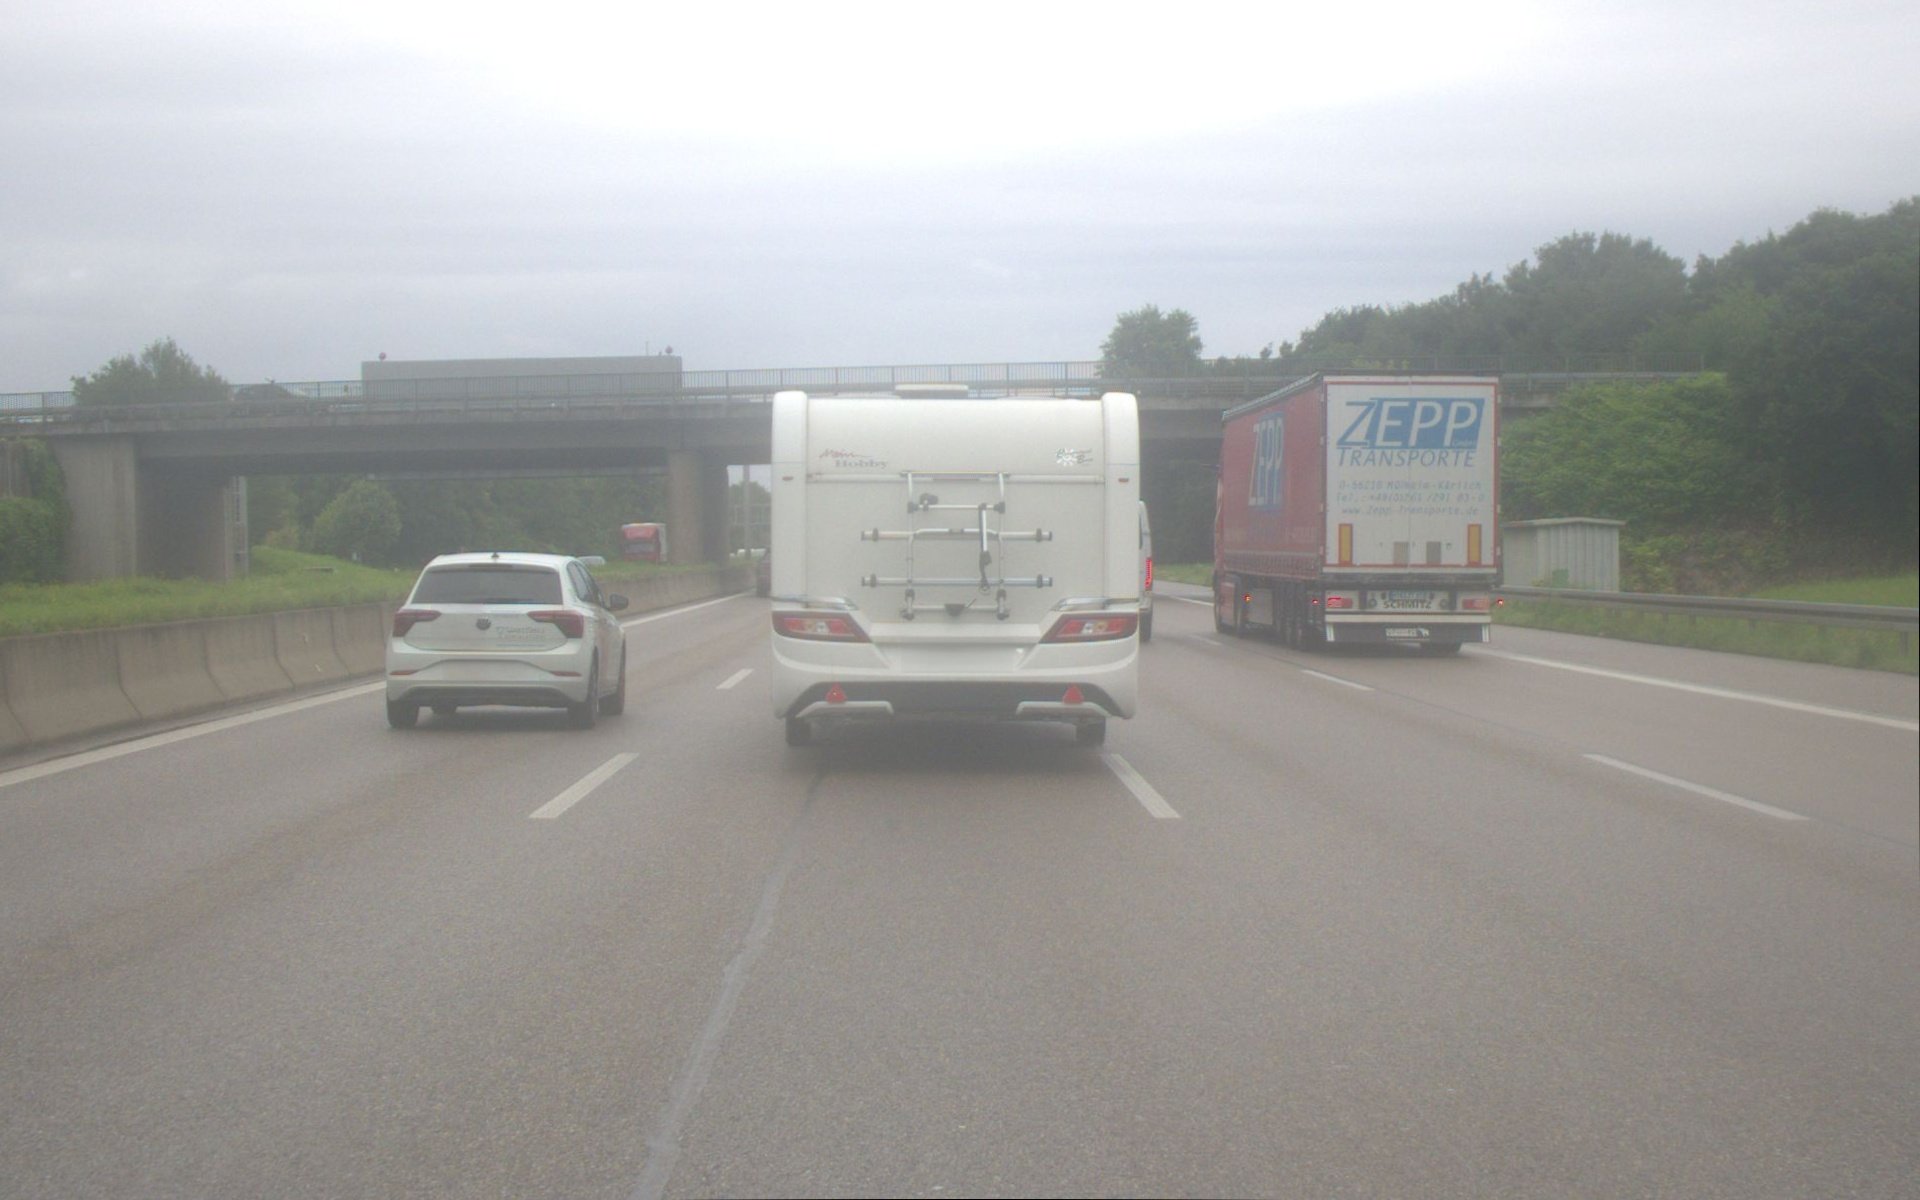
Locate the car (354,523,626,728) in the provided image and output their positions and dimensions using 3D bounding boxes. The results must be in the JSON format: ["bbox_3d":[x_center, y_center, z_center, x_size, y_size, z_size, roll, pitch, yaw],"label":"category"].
[{"bbox_3d":[-3.934,0.161,29.460,1.753,1.612,4.664,0,1,-1],"label":"car"}]

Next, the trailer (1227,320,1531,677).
[{"bbox_3d":[6.272,-1.465,53.612,3.100,4.905,11.791,1,1,-1],"label":"trailer"}]

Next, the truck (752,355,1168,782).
[{"bbox_3d":[-0.046,-0.227,24.877,2.661,2.733,5.078,1,0,-1],"label":"truck"}]

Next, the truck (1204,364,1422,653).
[{"bbox_3d":[6.164,-1.566,60.876,3.048,4.823,5.851,1,0,-1],"label":"truck"}]

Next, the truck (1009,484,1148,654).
[{"bbox_3d":[1.979,-0.530,59.050,2.053,2.760,5.549,1,0,-1],"label":"truck"}]

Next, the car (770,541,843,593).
[{"bbox_3d":[-4.856,-1.052,109.425,1.993,1.594,5.123,1,1,1],"label":"car"}]
